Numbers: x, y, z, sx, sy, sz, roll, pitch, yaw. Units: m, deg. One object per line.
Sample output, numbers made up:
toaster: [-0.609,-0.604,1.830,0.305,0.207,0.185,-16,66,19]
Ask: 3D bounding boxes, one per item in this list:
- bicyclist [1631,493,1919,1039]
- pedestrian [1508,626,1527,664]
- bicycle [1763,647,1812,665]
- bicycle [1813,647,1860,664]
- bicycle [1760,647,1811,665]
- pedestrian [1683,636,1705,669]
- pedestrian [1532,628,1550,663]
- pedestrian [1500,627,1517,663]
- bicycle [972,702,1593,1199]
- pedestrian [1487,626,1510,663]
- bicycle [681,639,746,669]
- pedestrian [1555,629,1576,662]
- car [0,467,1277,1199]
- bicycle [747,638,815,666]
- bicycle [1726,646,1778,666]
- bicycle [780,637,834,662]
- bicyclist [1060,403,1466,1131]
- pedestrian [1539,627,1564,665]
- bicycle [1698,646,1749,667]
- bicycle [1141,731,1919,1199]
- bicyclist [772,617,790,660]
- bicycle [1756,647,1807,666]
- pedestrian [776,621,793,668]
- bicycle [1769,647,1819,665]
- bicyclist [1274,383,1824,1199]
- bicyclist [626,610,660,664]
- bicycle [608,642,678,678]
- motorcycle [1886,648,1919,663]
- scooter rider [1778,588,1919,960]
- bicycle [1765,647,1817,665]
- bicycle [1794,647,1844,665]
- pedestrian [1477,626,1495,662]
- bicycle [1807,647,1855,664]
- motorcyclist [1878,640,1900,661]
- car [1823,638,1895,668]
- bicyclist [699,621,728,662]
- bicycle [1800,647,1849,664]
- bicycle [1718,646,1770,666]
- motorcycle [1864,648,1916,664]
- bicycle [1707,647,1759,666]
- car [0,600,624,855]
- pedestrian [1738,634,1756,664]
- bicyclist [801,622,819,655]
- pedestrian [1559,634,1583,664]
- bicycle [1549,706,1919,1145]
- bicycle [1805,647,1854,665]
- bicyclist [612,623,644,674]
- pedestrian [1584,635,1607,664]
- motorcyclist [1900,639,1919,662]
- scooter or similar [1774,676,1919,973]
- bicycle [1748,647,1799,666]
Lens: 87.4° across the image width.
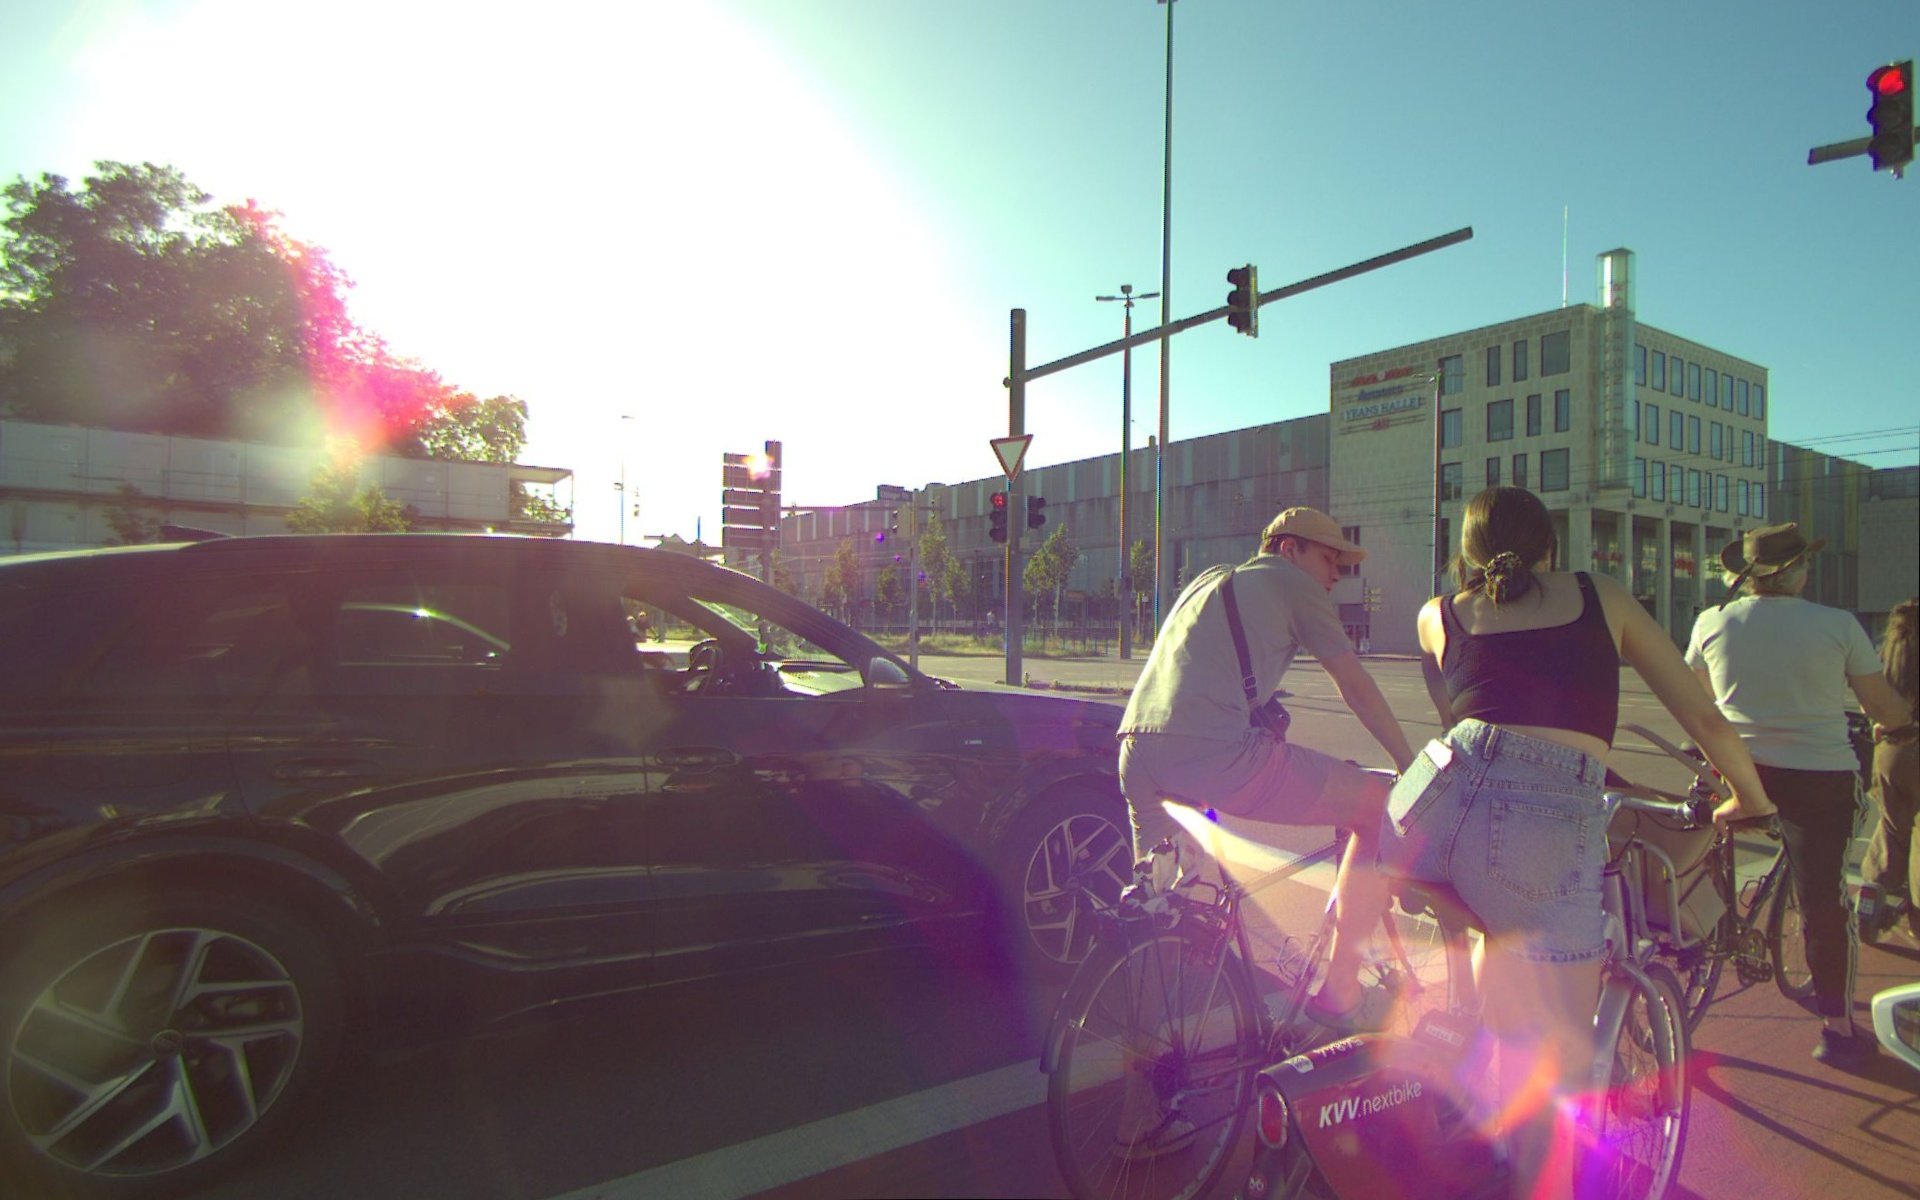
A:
bicyclist: [2.995,0.526,3.627,0.777,1.691,0.695,1,-1,-32]
pedestrian: [32.468,2.598,58.500,0.881,2.152,0.946,0,-1,26]
bicycle: [54.436,3.653,66.093,0.675,1.125,2.458,1,-2,-28]
bicycle: [61.252,3.877,70.216,0.652,1.125,2.458,1,-2,-28]
bicycle: [53.186,3.602,64.725,0.675,1.125,2.458,1,-2,-28]
pedestrian: [40.667,2.903,55.638,0.748,1.763,0.746,1,-1,-32]
pedestrian: [34.517,2.708,59.697,0.900,2.040,1.022,0,-1,28]
pedestrian: [33.184,2.705,60.781,0.883,2.152,0.945,0,-1,32]
bicycle: [0.958,0.897,2.781,1.795,1.131,0.620,1,-1,-31]
pedestrian: [32.145,2.649,59.934,0.939,2.152,0.888,2,-1,-38]
bicycle: [-8.470,1.845,34.524,2.050,0.939,0.800,0,-1,-27]
pedestrian: [38.404,2.858,63.724,1.016,2.040,0.906,2,-1,-42]
car: [-1.159,0.607,4.093,4.740,1.684,2.182,2,-1,-33]
bicycle: [-6.431,1.856,36.059,2.353,0.953,0.754,1,-1,-13]
bicycle: [48.741,3.449,61.841,0.675,1.125,2.458,1,-2,-28]
bicycle: [-6.013,1.922,39.499,2.042,0.939,0.803,0,0,-14]
bicyclist: [0.812,0.377,2.706,0.884,1.596,0.620,1,-1,-31]
pedestrian: [34.242,2.641,58.163,1.042,2.157,1.098,1,-1,21]
bicycle: [45.695,3.373,60.165,0.650,1.127,2.391,1,-2,-29]
bicycle: [1.269,0.901,2.104,1.780,1.108,0.647,1,-1,-32]
bicyclist: [-6.433,1.368,36.057,0.607,1.525,0.754,1,-1,-13]
bicycle: [52.557,3.588,64.278,0.675,1.125,2.458,1,-2,-28]
pedestrian: [-6.049,1.533,34.601,0.446,1.587,0.516,1,-1,-30]
bicycle: [55.454,3.687,66.806,0.824,1.125,2.458,1,-2,-28]
bicyclist: [1.184,0.458,2.051,0.837,1.563,0.647,1,-1,-31]
bicyclist: [-9.377,1.085,29.713,0.926,1.565,0.646,0,-1,-18]
bicycle: [-9.369,1.754,29.702,1.947,1.010,0.646,0,-1,-18]
motorcycle: [70.682,4.173,74.647,0.908,1.009,2.649,2,0,-36]
scooter rider: [4.425,0.744,4.678,1.105,1.564,0.638,1,0,-33]
bicycle: [53.872,3.624,65.153,0.824,1.125,2.458,1,-2,-28]
bicycle: [58.515,3.785,68.422,0.824,1.125,2.458,1,-2,-28]
pedestrian: [32.243,2.681,61.551,0.883,2.152,0.944,0,-1,34]
bicycle: [60.414,3.860,69.681,0.623,1.125,2.458,1,-2,-28]
motorcyclist: [67.616,3.668,73.129,0.908,1.490,1.029,2,0,-37]
car: [49.837,2.905,55.676,4.247,1.602,1.927,1,-2,-32]
bicyclist: [-8.475,1.429,34.528,0.830,1.375,0.800,0,0,-26]
bicycle: [59.233,3.805,68.862,0.652,1.125,2.458,1,-2,-28]
bicycle: [48.008,3.435,61.516,0.675,1.125,2.459,1,-2,-27]
motorcycle: [67.662,4.073,73.070,0.908,1.009,2.649,2,0,-36]
bicycle: [46.827,3.413,60.865,0.676,1.125,2.457,1,-2,-29]
car: [-4.758,0.721,6.733,4.475,1.370,1.762,2,-1,-31]
pedestrian: [54.575,3.396,69.654,0.933,2.008,1.004,0,-1,36]
bicyclist: [-5.909,1.509,39.540,0.627,1.287,0.803,0,0,-14]
pedestrian: [35.492,2.846,58.321,0.988,1.672,0.949,1,-1,18]
bicycle: [2.933,0.987,3.576,1.780,1.108,0.703,1,-1,-32]
bicycle: [59.901,3.833,69.233,0.652,1.125,2.458,1,-2,-28]
bicyclist: [-9.493,1.363,28.725,0.830,1.420,0.802,0,0,-19]
pedestrian: [35.696,2.790,56.423,0.927,1.592,0.842,1,-1,18]
motorcyclist: [70.718,3.742,74.633,0.908,1.596,1.129,2,0,-37]
scooter or similar: [4.562,0.991,4.787,1.468,1.191,0.638,1,0,-33]
bicycle: [51.520,3.553,63.652,0.586,1.125,2.458,1,-2,-28]
